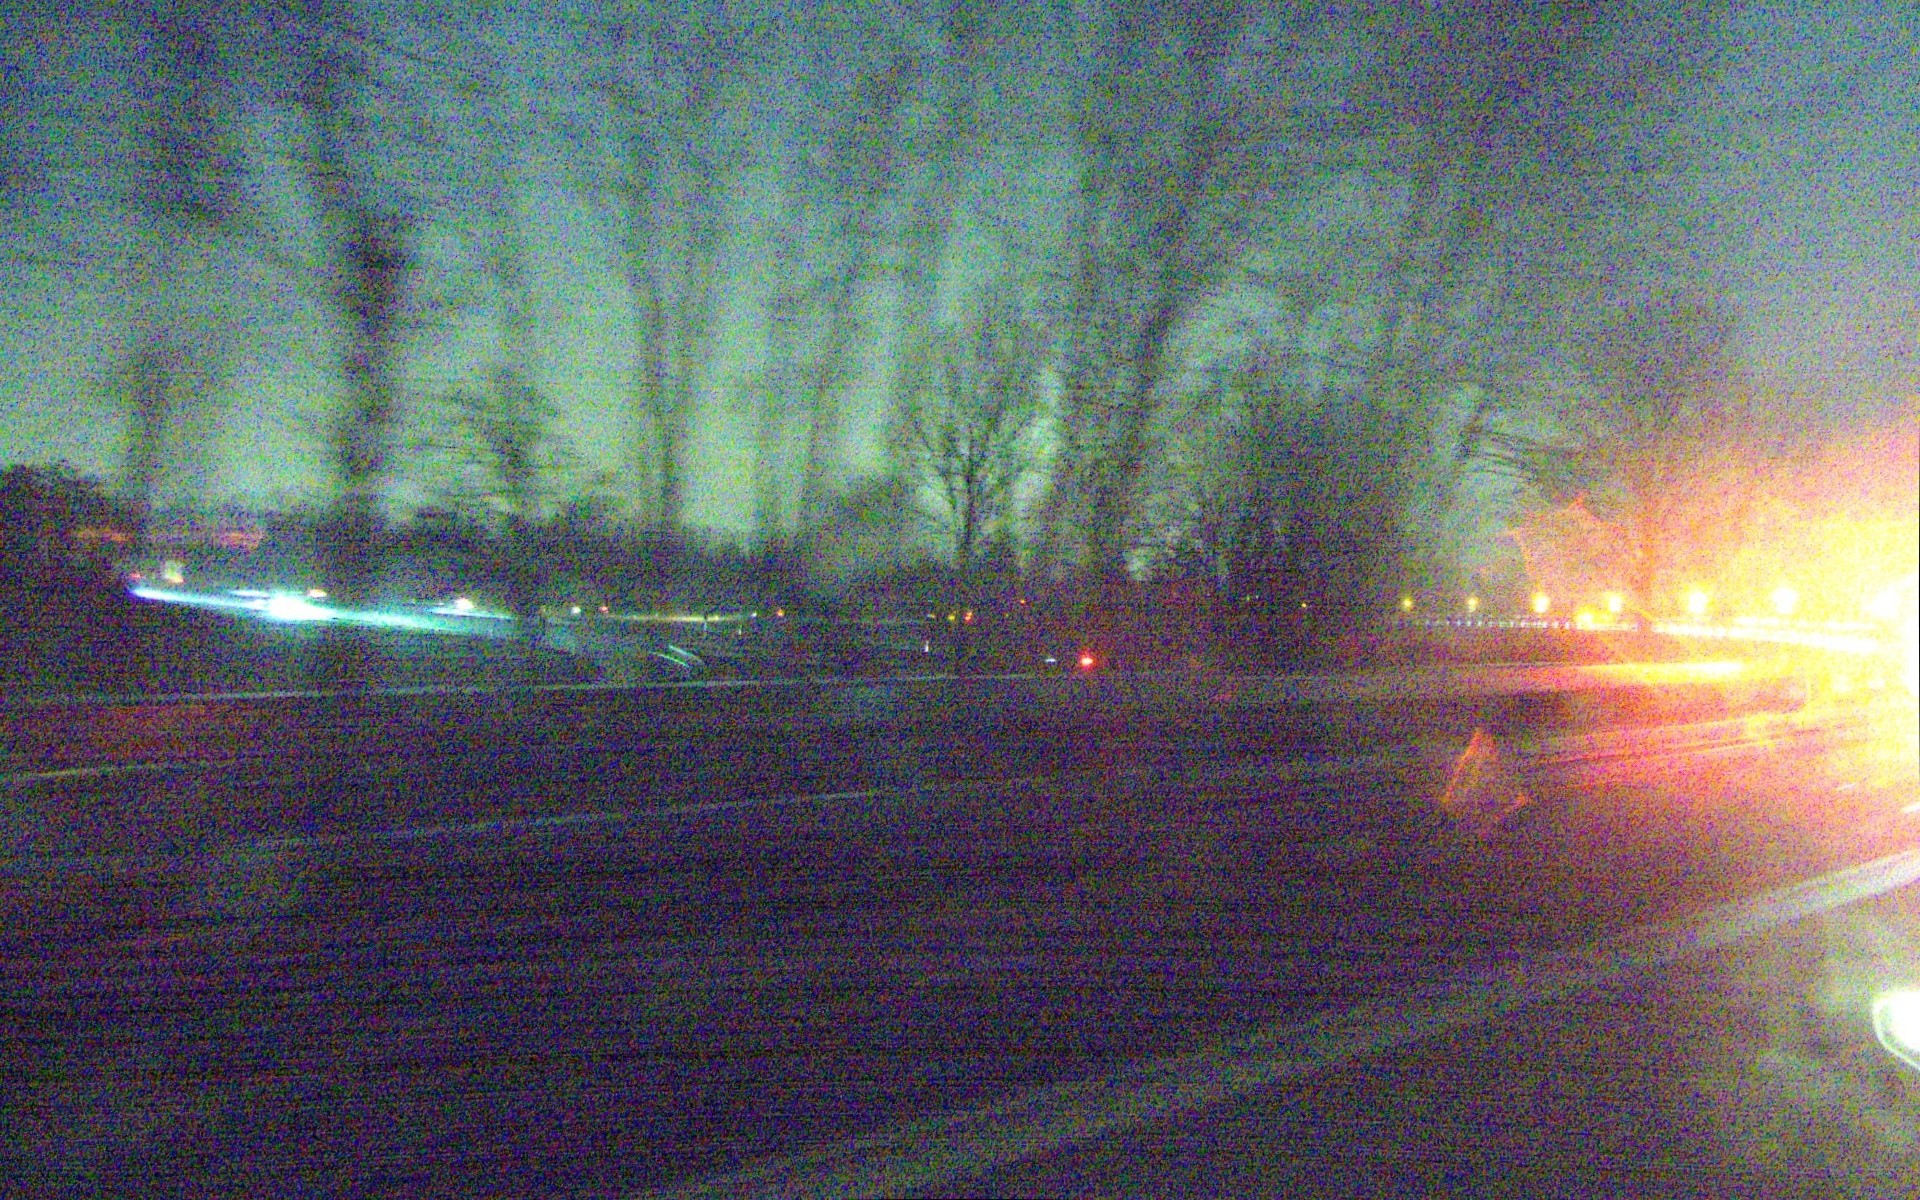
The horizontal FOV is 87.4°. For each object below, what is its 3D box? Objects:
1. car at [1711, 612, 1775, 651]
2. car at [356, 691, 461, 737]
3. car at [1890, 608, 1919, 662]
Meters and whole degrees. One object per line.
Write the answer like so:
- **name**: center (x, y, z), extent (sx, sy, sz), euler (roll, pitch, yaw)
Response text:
- **car**: center (42.549, 1.668, 54.685), extent (1.866, 2.024, 4.042), euler (-1, -1, 25)
- **car**: center (-20.850, 4.278, 38.109), extent (1.475, 1.446, 3.433), euler (1, -2, 14)
- **car**: center (38.565, 1.358, 39.752), extent (1.869, 2.067, 4.035), euler (1, 0, 32)
